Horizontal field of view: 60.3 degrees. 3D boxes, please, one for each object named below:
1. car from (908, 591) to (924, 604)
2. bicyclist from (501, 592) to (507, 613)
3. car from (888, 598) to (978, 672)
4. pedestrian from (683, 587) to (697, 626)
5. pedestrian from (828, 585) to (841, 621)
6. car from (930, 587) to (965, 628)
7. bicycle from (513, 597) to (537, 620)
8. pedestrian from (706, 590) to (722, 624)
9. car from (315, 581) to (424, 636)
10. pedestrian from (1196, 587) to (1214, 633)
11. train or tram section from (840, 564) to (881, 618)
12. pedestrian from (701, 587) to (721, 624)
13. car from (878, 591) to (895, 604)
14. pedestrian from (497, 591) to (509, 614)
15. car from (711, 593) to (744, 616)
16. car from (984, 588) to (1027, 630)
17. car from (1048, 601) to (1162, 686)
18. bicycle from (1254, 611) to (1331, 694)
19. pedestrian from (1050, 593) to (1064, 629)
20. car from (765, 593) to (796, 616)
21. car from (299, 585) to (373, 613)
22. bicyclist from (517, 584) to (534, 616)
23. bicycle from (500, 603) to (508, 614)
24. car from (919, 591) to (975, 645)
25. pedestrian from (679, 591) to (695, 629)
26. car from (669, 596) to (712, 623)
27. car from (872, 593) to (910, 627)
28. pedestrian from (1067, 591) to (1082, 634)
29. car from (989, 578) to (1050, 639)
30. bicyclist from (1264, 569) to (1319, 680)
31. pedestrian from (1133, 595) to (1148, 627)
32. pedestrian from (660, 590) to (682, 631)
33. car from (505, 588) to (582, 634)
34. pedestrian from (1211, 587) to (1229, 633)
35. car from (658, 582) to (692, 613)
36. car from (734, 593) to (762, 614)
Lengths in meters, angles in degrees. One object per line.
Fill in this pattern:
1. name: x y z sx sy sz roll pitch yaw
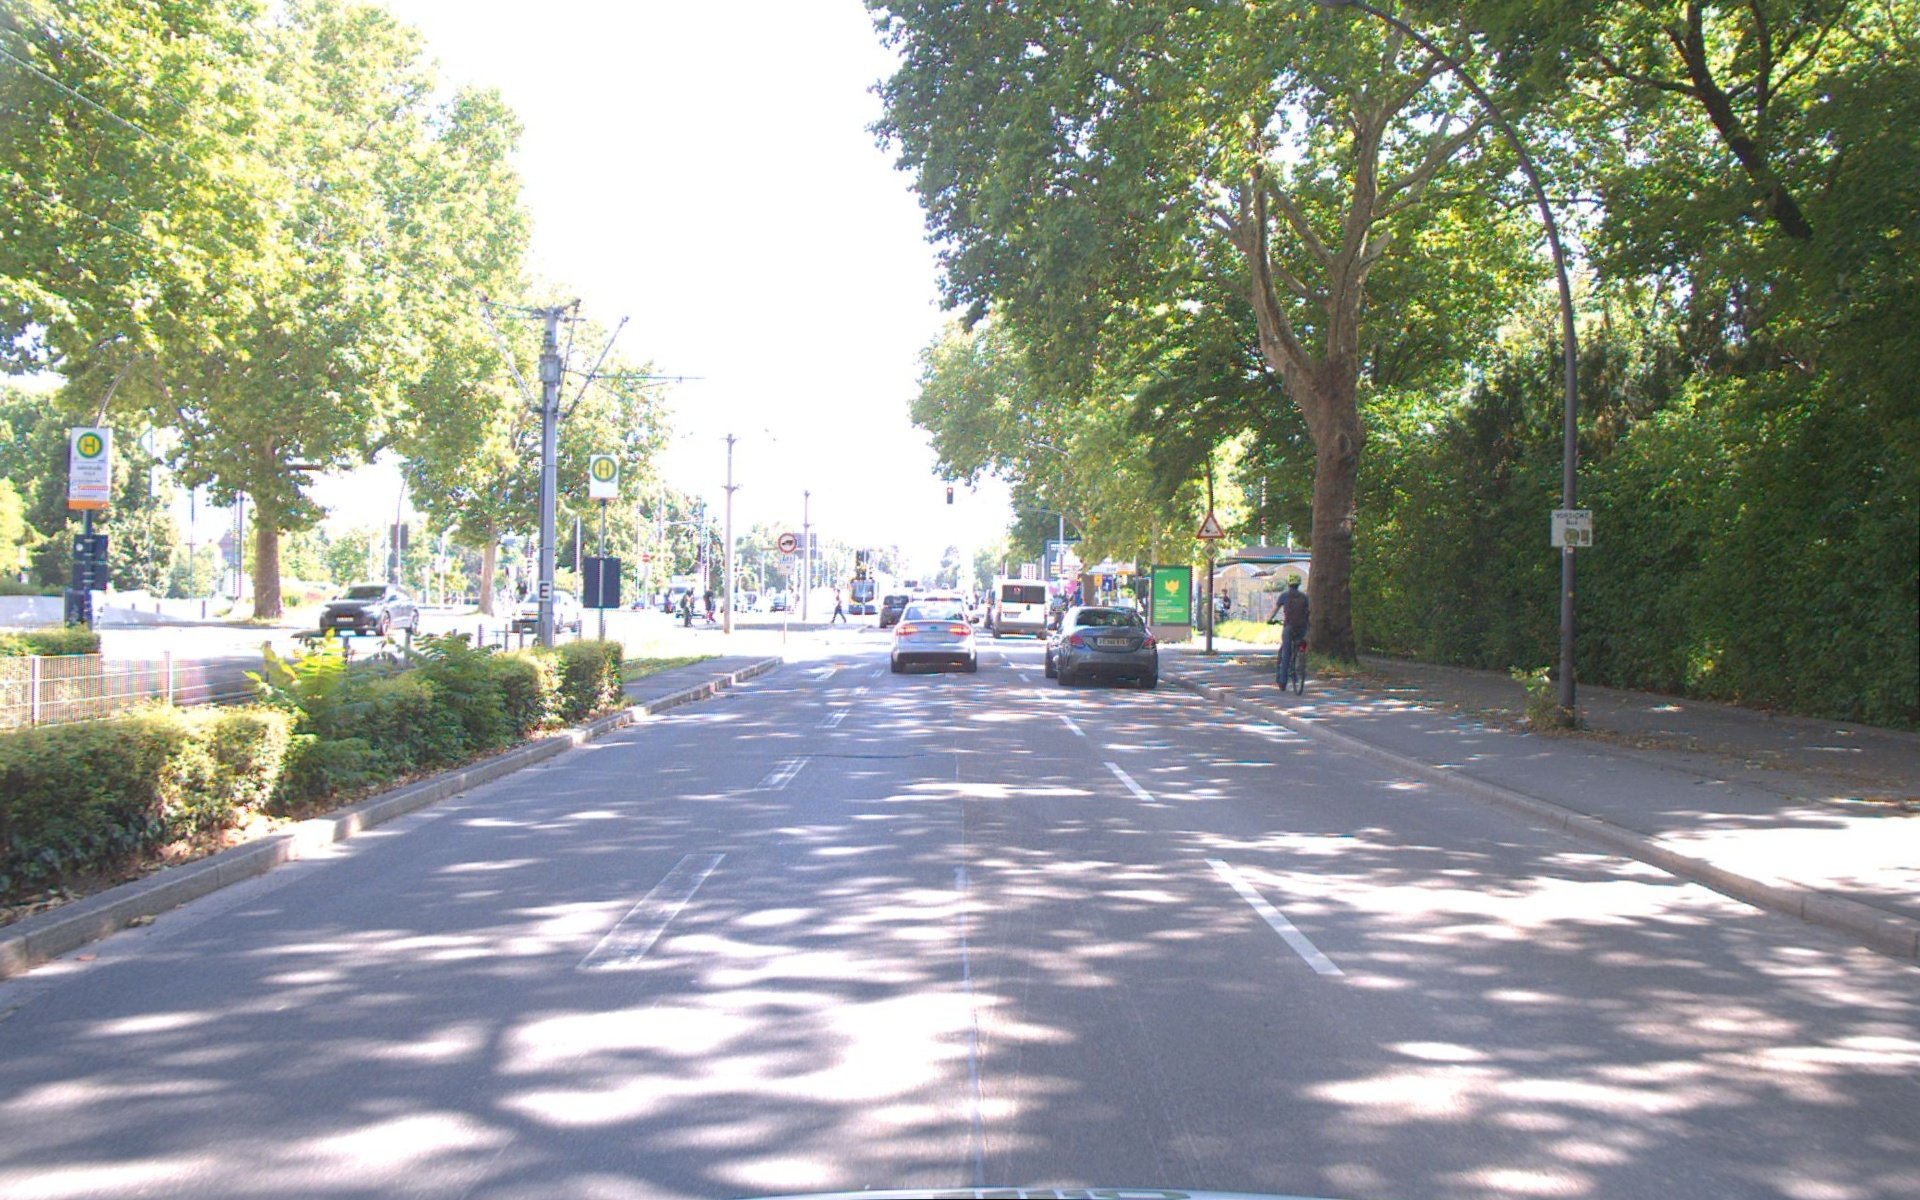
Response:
1. car: -5.756 -0.279 215.858 1.832 1.637 4.001 1 0 2
2. bicyclist: -30.220 0.162 109.621 0.378 1.334 0.464 1 0 -12
3. car: -0.540 0.699 34.839 1.748 1.445 3.884 1 0 0
4. pedestrian: -12.126 0.298 74.171 0.482 1.708 0.643 1 0 0
5. pedestrian: -6.860 0.145 90.212 0.611 1.952 0.689 1 0 0
6. car: -0.635 0.370 83.421 1.694 1.935 4.000 1 0 0
7. bicycle: -22.122 0.437 84.123 0.653 1.113 1.884 1 0 0
8. pedestrian: -12.018 0.330 80.888 0.526 1.626 0.578 1 0 19
9. car: -19.094 0.253 53.675 1.792 1.652 4.896 1 0 -1
10. pedestrian: 10.352 0.416 69.916 0.601 1.929 0.694 1 0 -3
11. train or tram section: -7.734 -0.695 129.307 2.563 4.085 7.748 1 0 0
12. pedestrian: -12.072 0.265 80.163 0.758 1.764 0.755 1 0 8
13. car: -9.565 -0.320 215.995 1.832 1.637 4.001 1 0 2
14. pedestrian: -31.268 0.158 113.164 0.610 1.569 0.782 1 0 -1
15. car: -16.989 0.301 121.112 1.833 1.637 4.000 1 0 0
16. car: 2.297 0.447 84.426 2.030 2.034 4.058 1 0 0
17. car: 2.636 0.767 30.867 1.746 1.445 4.000 1 0 0
18. bicycle: 5.182 0.799 25.877 0.700 1.168 2.178 -2 1 -1
19. pedestrian: 4.717 0.551 80.620 0.590 1.724 0.953 -1 0 0
20. car: -14.020 0.367 129.609 1.953 1.764 4.000 1 0 0
21. car: -37.956 -0.068 100.608 3.769 1.576 1.769 1 0 0
22. bicyclist: -22.104 -0.011 84.166 0.563 1.632 0.838 1 0 0
23. bicycle: -30.244 0.562 109.660 0.413 0.761 1.143 1 0 -12
24. car: -0.414 0.564 53.335 1.694 1.633 3.884 1 0 0
25. pedestrian: -12.101 0.444 73.353 0.580 1.675 0.554 1 0 0
26. car: -15.990 0.554 98.249 1.760 1.515 4.385 1 0 0
27. car: -3.443 0.492 83.149 1.694 1.659 4.000 1 0 0
28. pedestrian: 5.338 0.598 77.307 0.622 1.980 0.719 1 0 0
29. car: 2.295 0.335 64.695 2.184 2.250 4.161 1 0 0
30. bicyclist: 5.175 0.370 25.845 0.621 1.676 0.979 -1 1 -1
31. pedestrian: 10.326 0.635 94.386 0.761 1.819 0.764 1 0 11
32. pedestrian: -11.911 0.440 68.223 0.748 1.651 0.590 1 0 -26
33. car: -15.365 0.385 61.196 1.774 1.590 4.304 1 0 -1
34. pedestrian: 11.002 0.424 69.982 0.601 1.929 0.597 1 0 -3
35. car: -23.068 -0.192 133.966 2.071 2.424 4.000 1 0 0
36. car: -17.152 0.252 133.808 1.727 1.637 3.860 1 0 0
